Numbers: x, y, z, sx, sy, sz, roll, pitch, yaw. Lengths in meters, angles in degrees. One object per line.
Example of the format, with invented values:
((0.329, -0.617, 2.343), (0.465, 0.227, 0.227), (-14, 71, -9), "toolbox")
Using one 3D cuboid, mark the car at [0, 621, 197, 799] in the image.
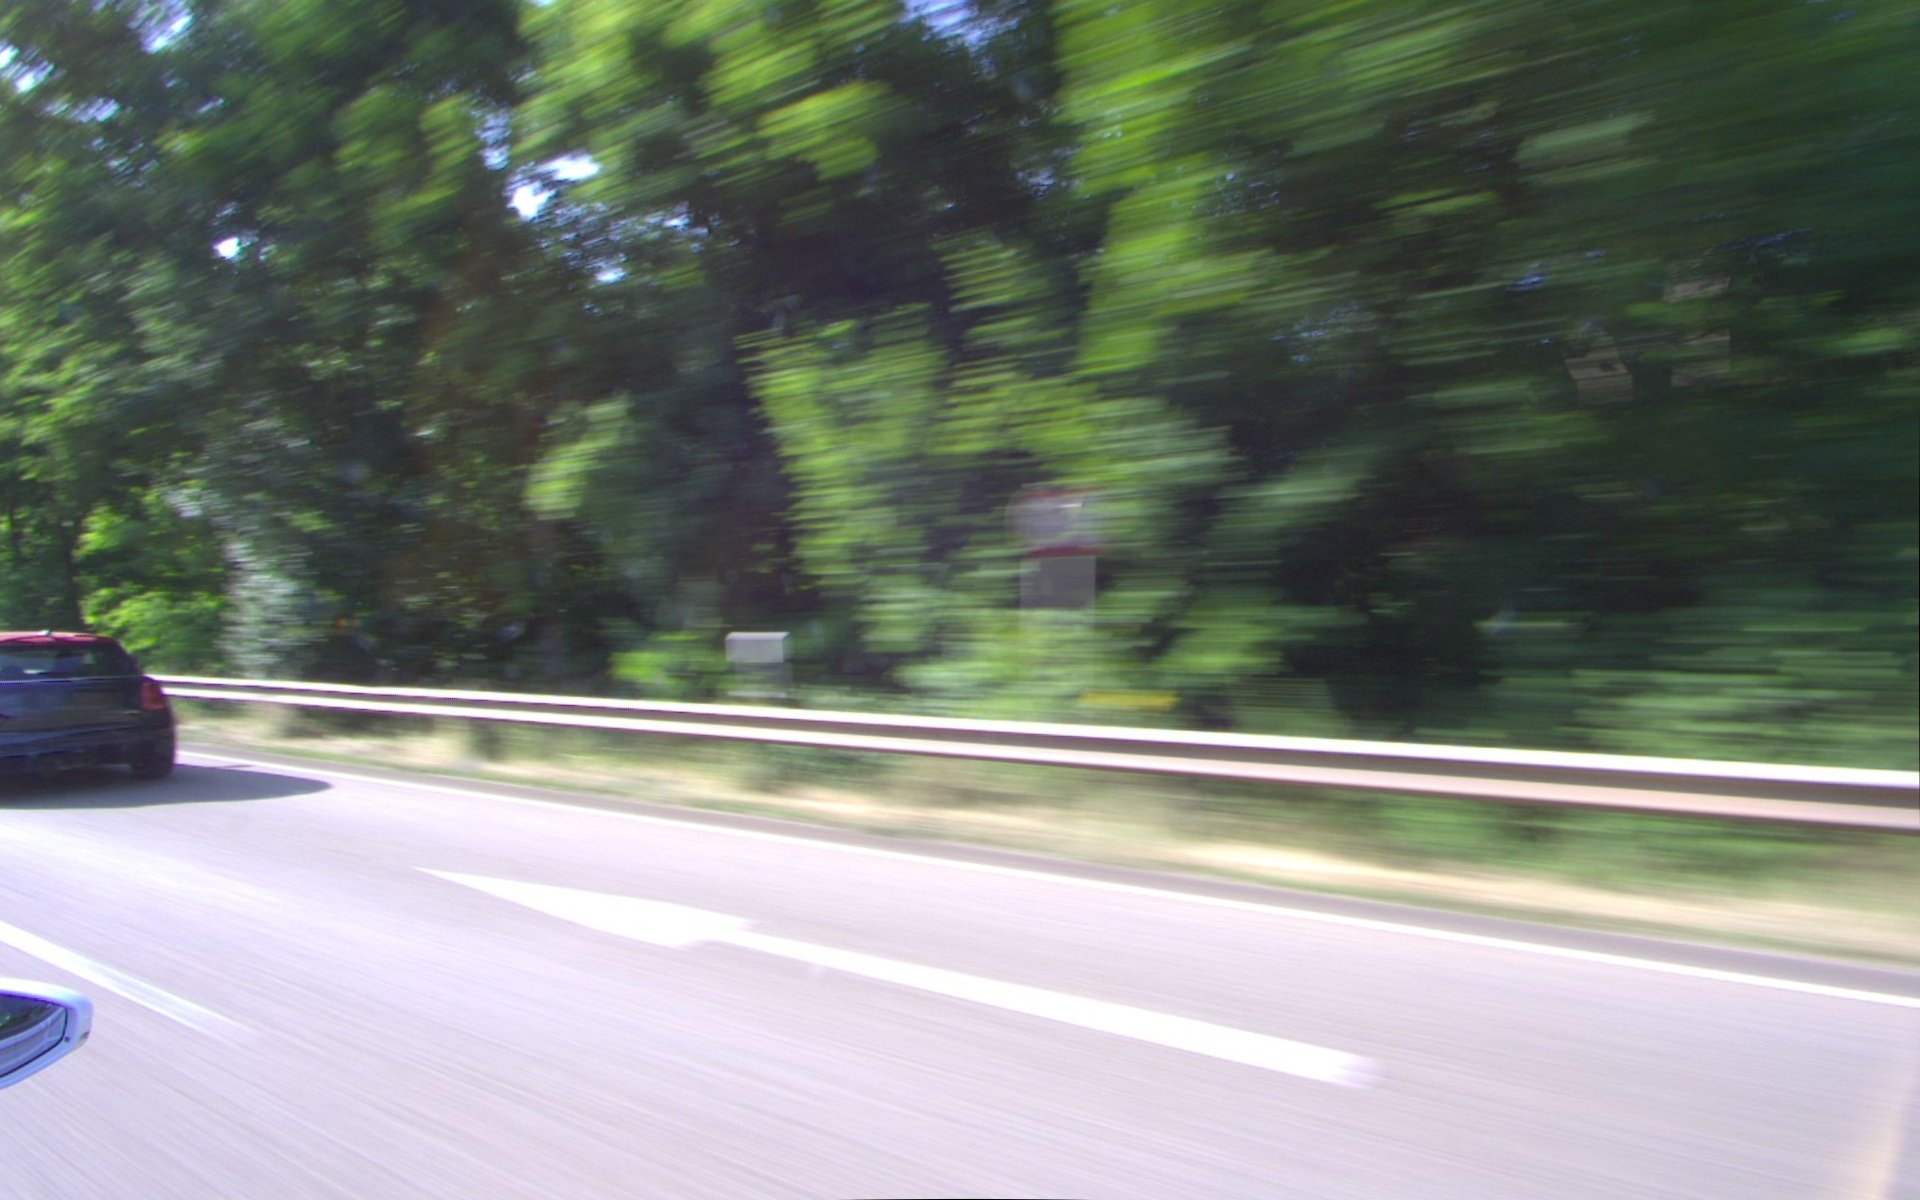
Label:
((-9.398, 0.958, 9.857), (3.818, 1.487, 1.816), (-1, -1, 33), "car")
